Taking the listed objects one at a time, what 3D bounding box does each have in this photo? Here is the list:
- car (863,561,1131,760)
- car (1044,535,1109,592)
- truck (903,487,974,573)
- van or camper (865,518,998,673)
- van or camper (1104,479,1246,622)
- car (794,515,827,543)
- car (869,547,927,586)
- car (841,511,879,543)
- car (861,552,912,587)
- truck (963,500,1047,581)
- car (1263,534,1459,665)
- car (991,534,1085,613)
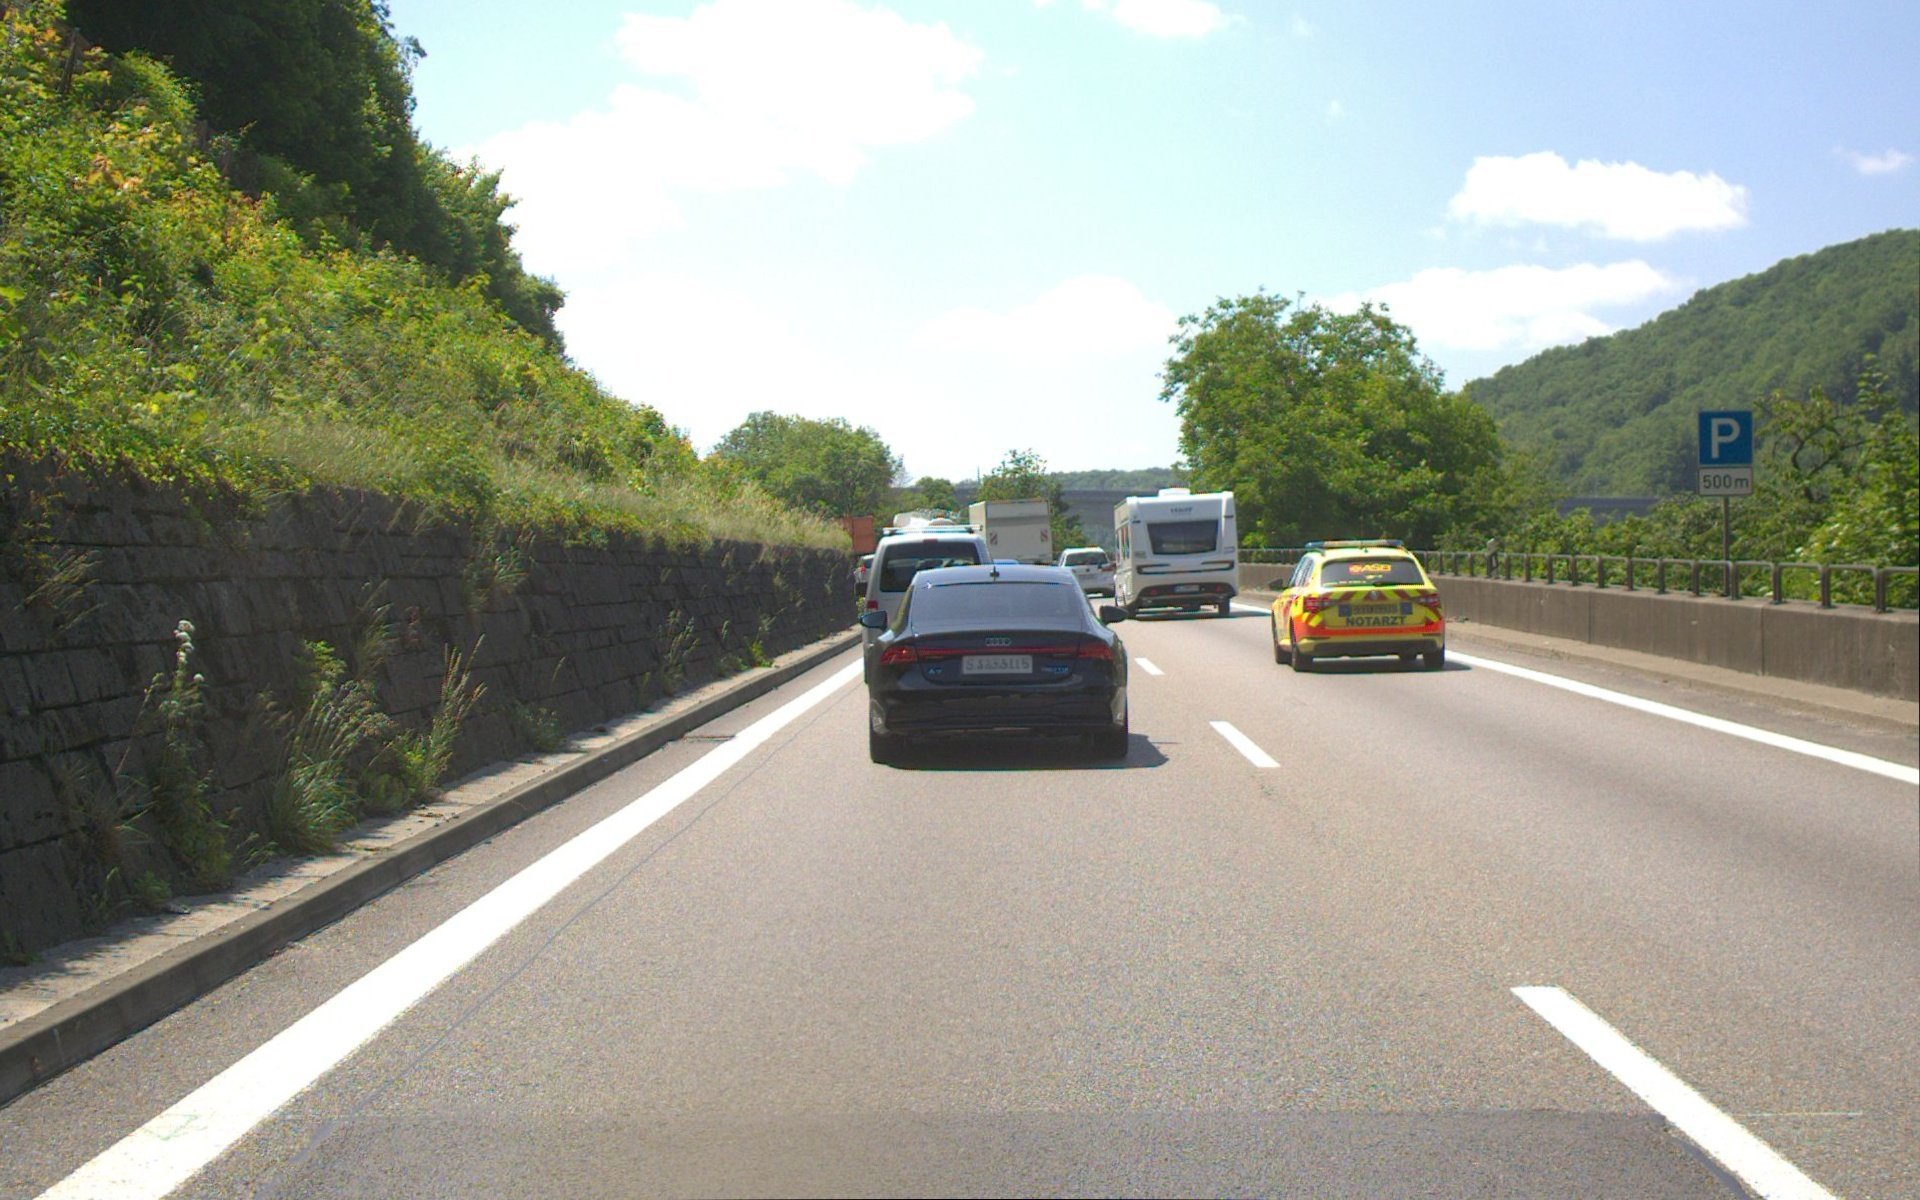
[{"bbox_3d":[0.238,0.426,25.920,1.837,1.345,4.000,1,0,0],"label":"car"},{"bbox_3d":[3.575,-1.134,106.243,1.841,1.711,4.000,1,1,0],"label":"car"},{"bbox_3d":[-1.095,-3.397,168.022,2.732,4.082,7.481,1,1,-6],"label":"truck"},{"bbox_3d":[-0.388,-0.055,42.726,1.391,1.810,4.000,1,0,-4],"label":"van or camper"},{"bbox_3d":[4.582,-1.024,74.282,2.455,2.908,6.126,1,0,-2],"label":"van or camper"},{"bbox_3d":[-10.727,-5.079,246.530,1.993,2.007,4.001,1,1,-8],"label":"car"},{"bbox_3d":[-2.376,-1.297,131.769,1.993,1.459,4.001,1,1,-4],"label":"car"},{"bbox_3d":[-6.396,-4.668,219.664,1.993,2.007,4.001,1,1,-8],"label":"car"},{"bbox_3d":[-3.173,-1.328,147.503,1.993,1.459,4.001,1,1,-4],"label":"car"},{"bbox_3d":[1.748,-2.357,136.454,2.840,3.120,7.481,1,1,-3],"label":"truck"},{"bbox_3d":[4.834,-0.001,41.901,1.863,1.483,4.000,1,0,0],"label":"car"},{"bbox_3d":[1.665,-0.594,74.477,1.773,1.631,4.001,1,1,-2],"label":"car"}]
